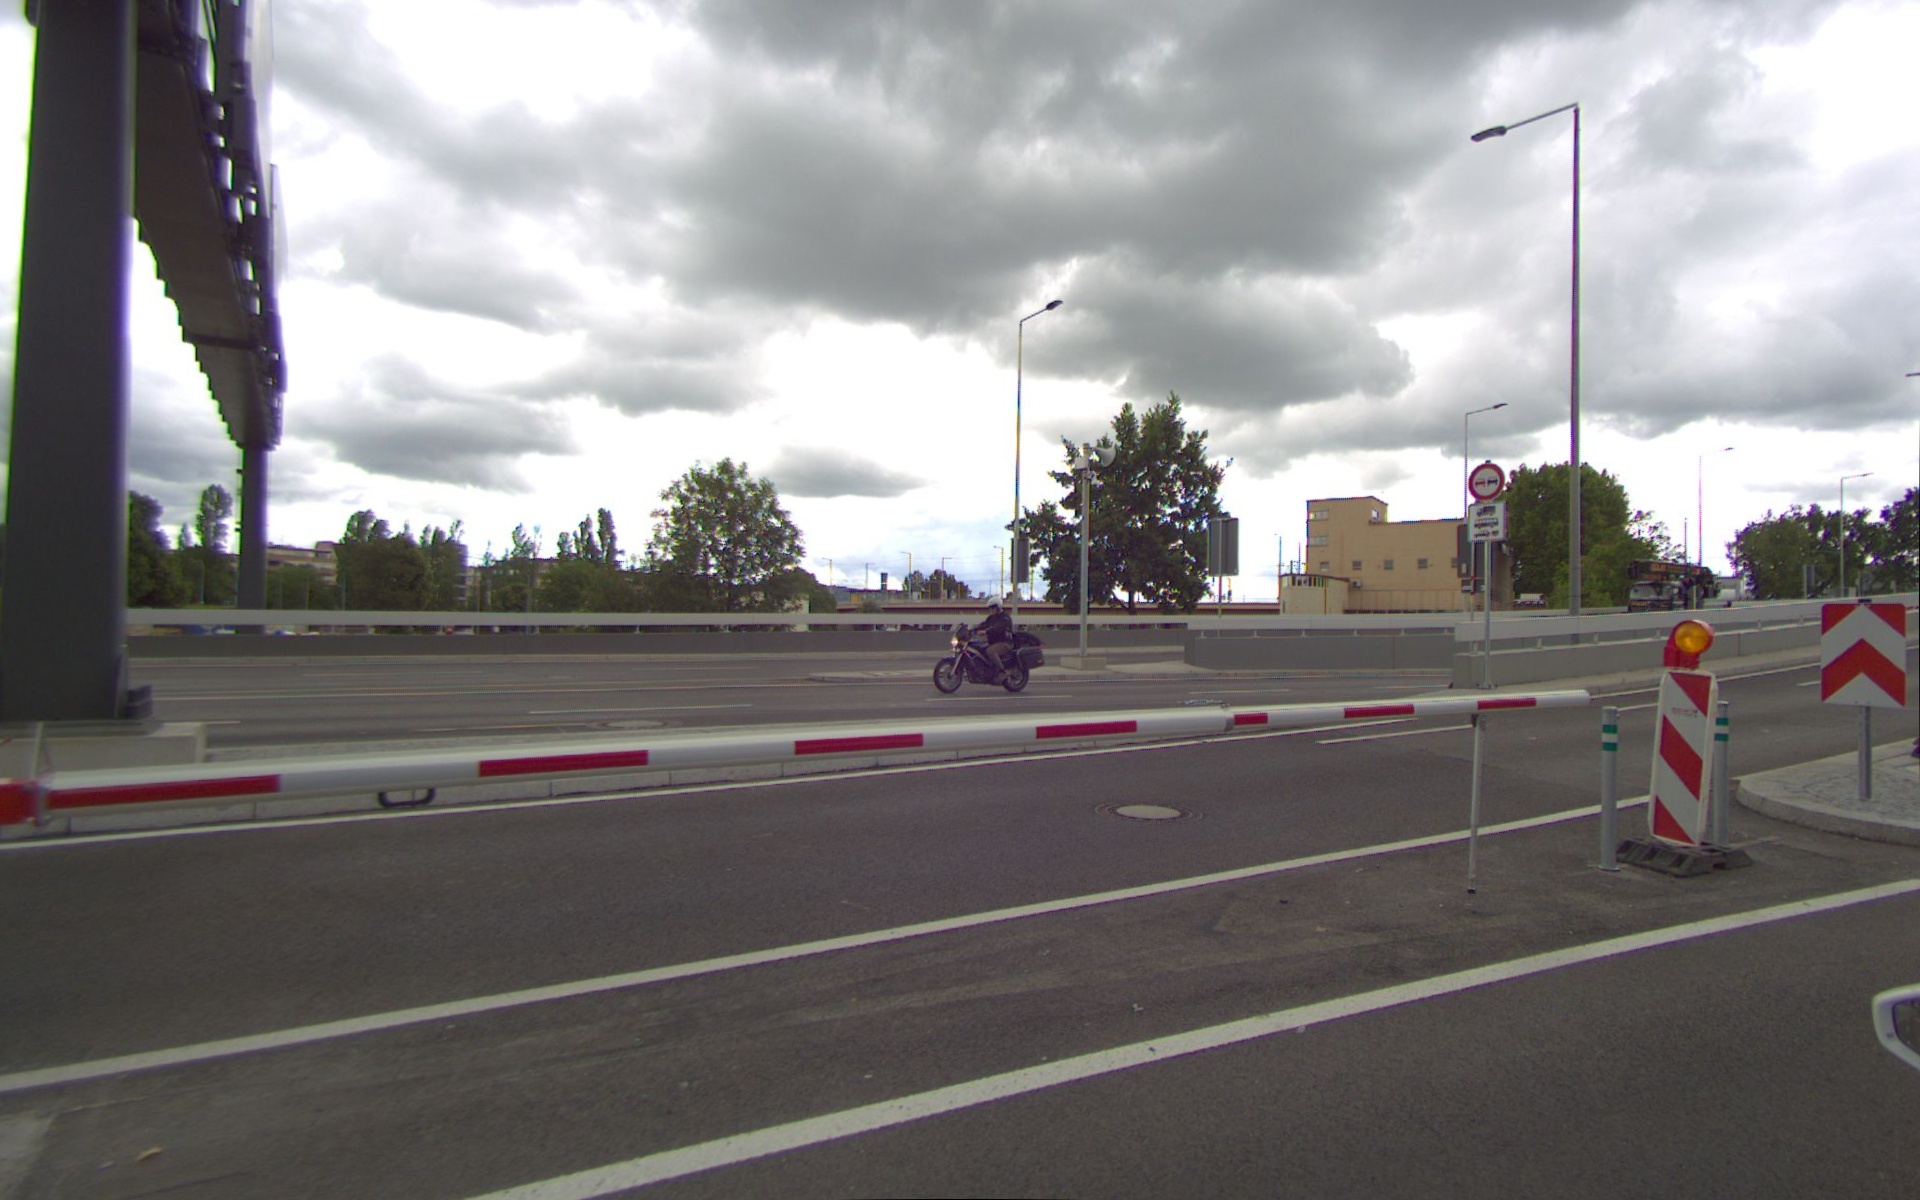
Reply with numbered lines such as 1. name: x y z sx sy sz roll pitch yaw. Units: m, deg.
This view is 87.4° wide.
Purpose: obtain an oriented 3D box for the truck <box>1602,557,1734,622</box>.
1. truck: 40.721 -0.715 57.598 10.509 3.436 2.715 -2 3 -35

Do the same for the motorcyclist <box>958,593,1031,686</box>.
1. motorcyclist: 0.615 0.704 18.018 1.089 1.627 0.662 2 0 -26

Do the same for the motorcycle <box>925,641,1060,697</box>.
1. motorcycle: 0.599 1.227 18.015 2.363 0.929 0.662 2 0 -27
